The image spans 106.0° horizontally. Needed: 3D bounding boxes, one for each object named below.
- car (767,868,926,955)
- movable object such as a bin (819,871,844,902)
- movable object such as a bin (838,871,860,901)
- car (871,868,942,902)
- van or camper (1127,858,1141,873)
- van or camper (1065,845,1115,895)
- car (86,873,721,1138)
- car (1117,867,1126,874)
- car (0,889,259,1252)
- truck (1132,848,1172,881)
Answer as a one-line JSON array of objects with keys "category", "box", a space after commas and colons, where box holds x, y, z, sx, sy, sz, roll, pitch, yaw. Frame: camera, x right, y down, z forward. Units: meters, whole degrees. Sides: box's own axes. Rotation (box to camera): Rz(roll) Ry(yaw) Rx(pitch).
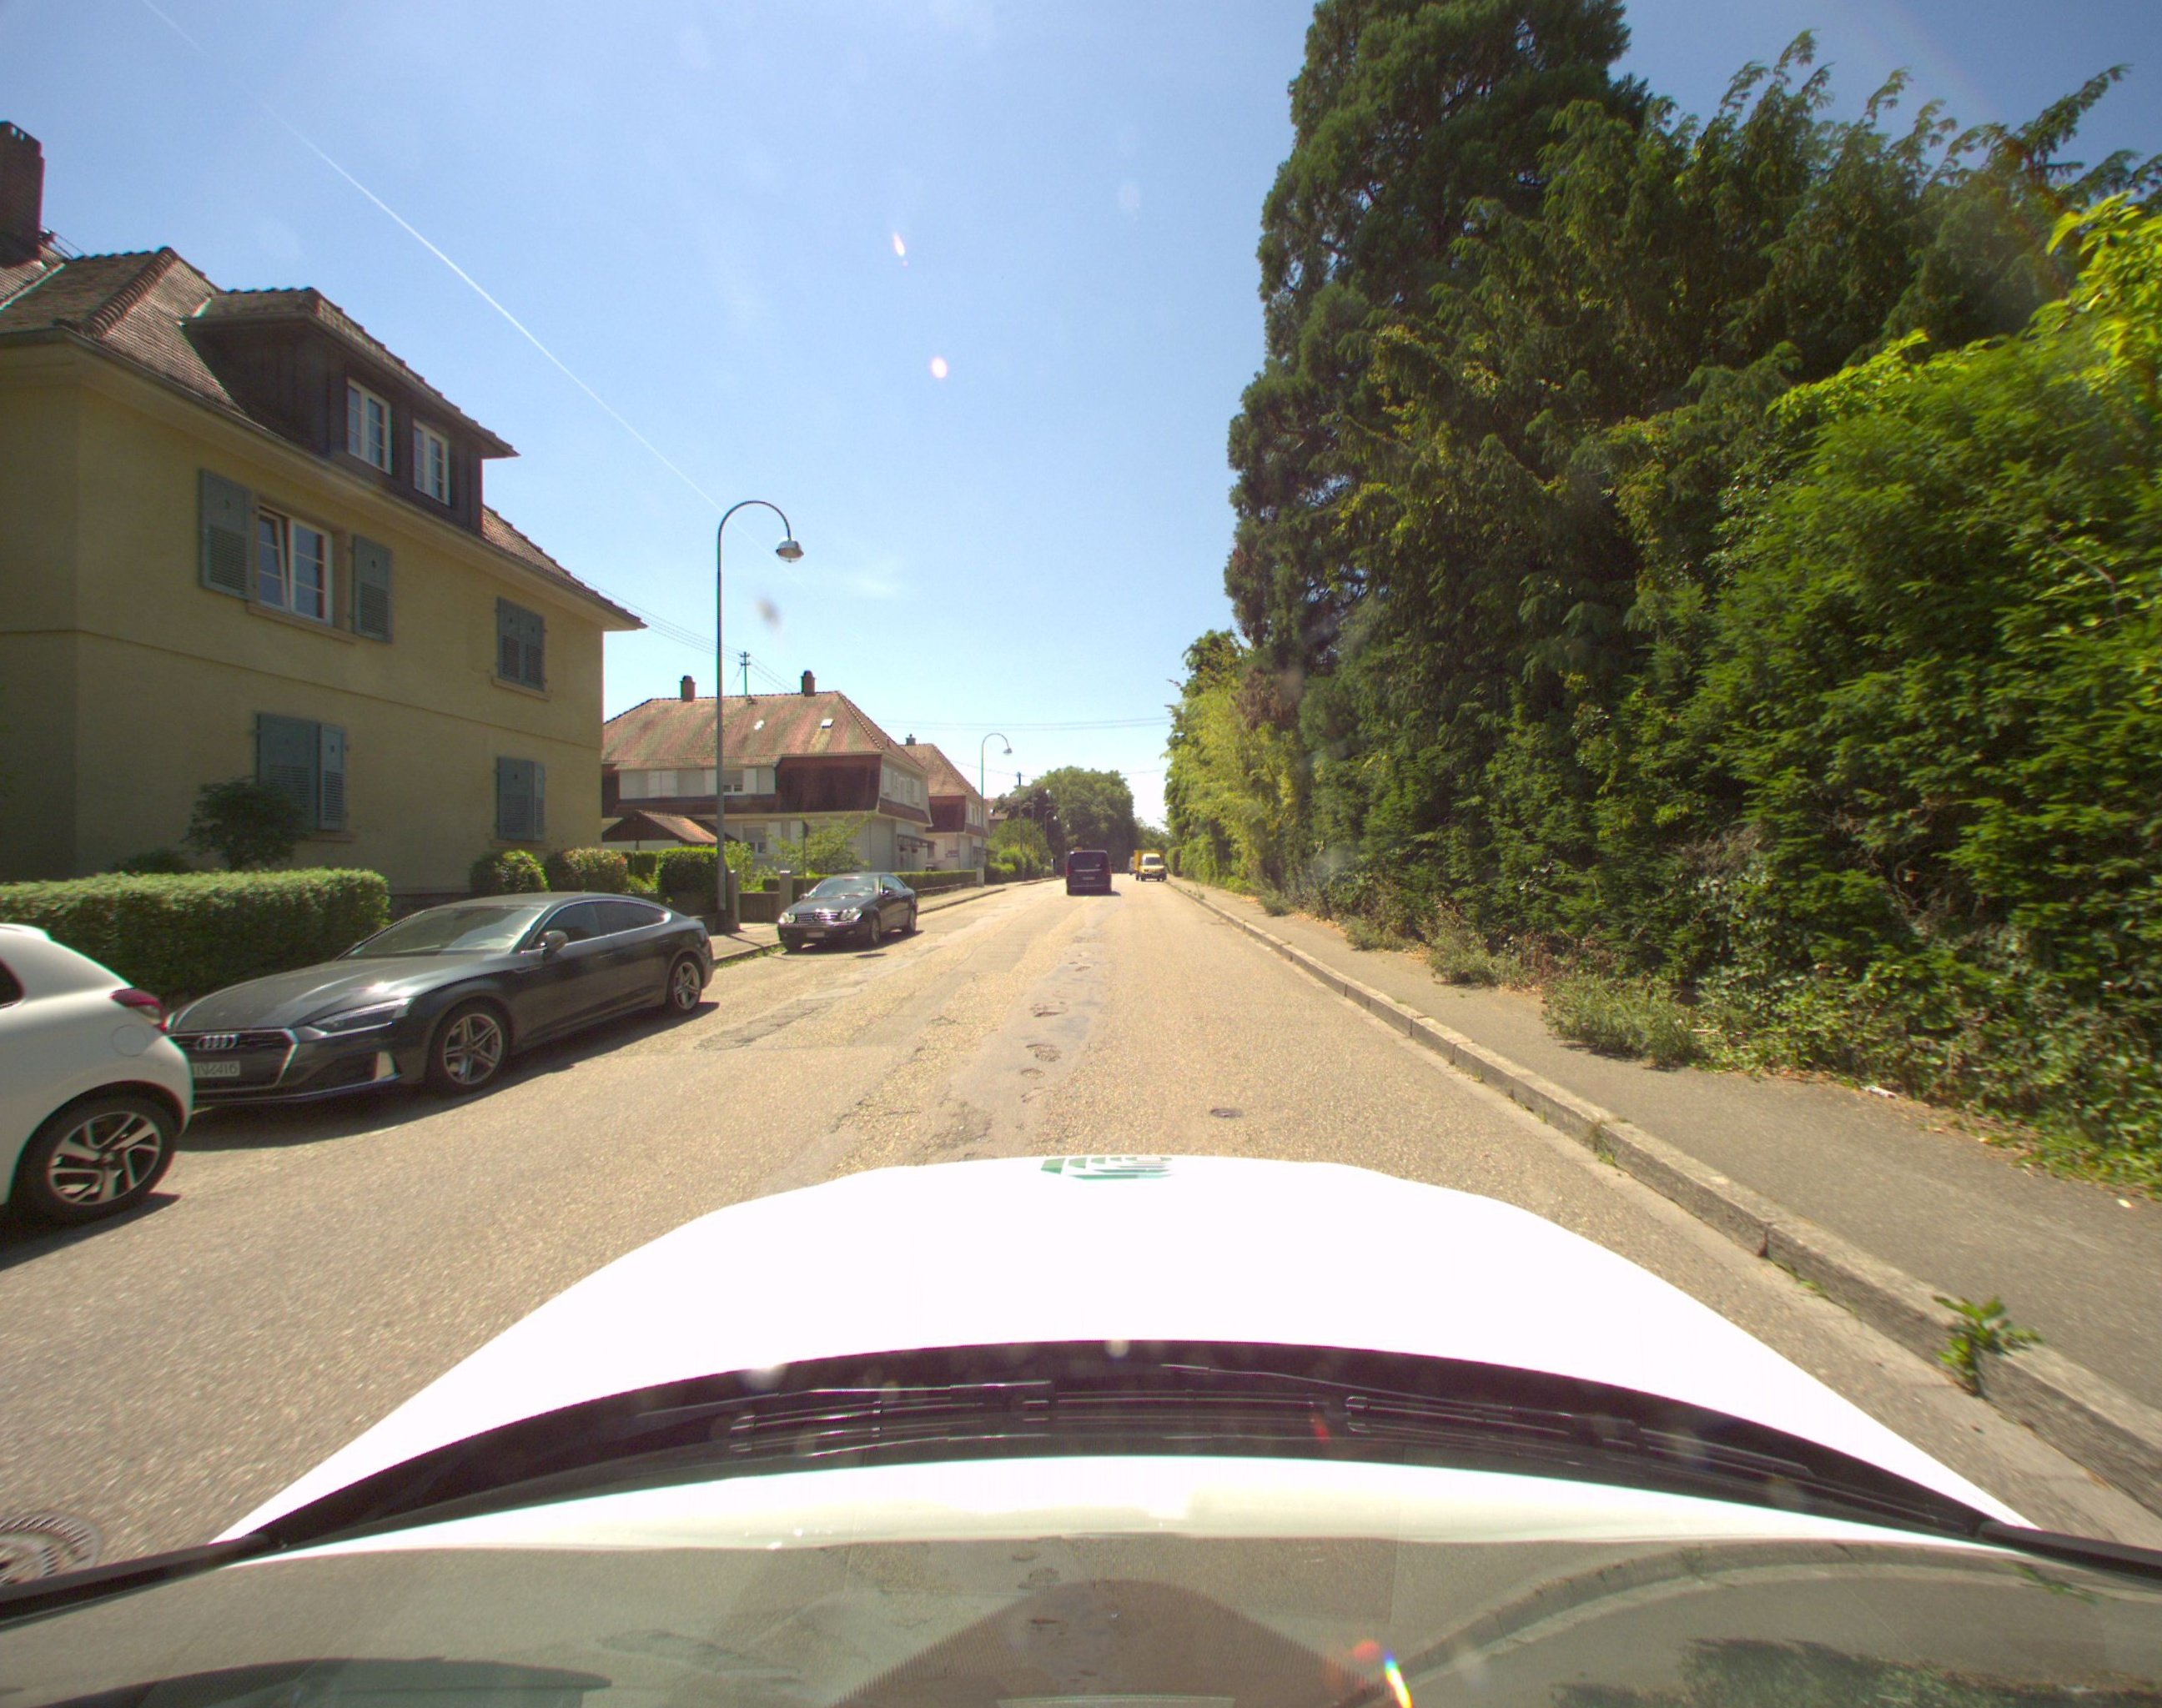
[{"category": "car", "box": [-4.572, 1.062, 16.604, 1.659, 1.386, 4.384, -3, 0, 3]}, {"category": "movable object such as a bin", "box": [-11.221, 1.451, 36.666, 0.816, 1.322, 0.919, -2, -1, 0]}, {"category": "movable object such as a bin", "box": [-10.444, 1.428, 36.650, 0.687, 1.322, 0.919, -2, -1, 0]}, {"category": "car", "box": [-10.659, 1.877, 49.895, 3.851, 1.905, 1.881, -2, -1, 2]}, {"category": "van or camper", "box": [7.694, 1.660, 118.881, 1.985, 2.014, 4.004, -2, -1, 4]}, {"category": "van or camper", "box": [0.467, 0.671, 35.174, 1.894, 2.014, 5.275, -1, -1, 4]}, {"category": "car", "box": [-5.130, 0.978, 7.187, 1.659, 1.493, 4.469, -2, 0, 3]}, {"category": "car", "box": [9.450, 3.783, 188.432, 1.538, 1.449, 3.015, 1, 0, 12]}, {"category": "car", "box": [-5.457, 0.966, 2.760, 1.659, 1.492, 3.481, -3, 0, 3]}, {"category": "truck", "box": [5.109, 0.772, 59.413, 2.348, 2.258, 6.090, -2, -1, 0]}]
